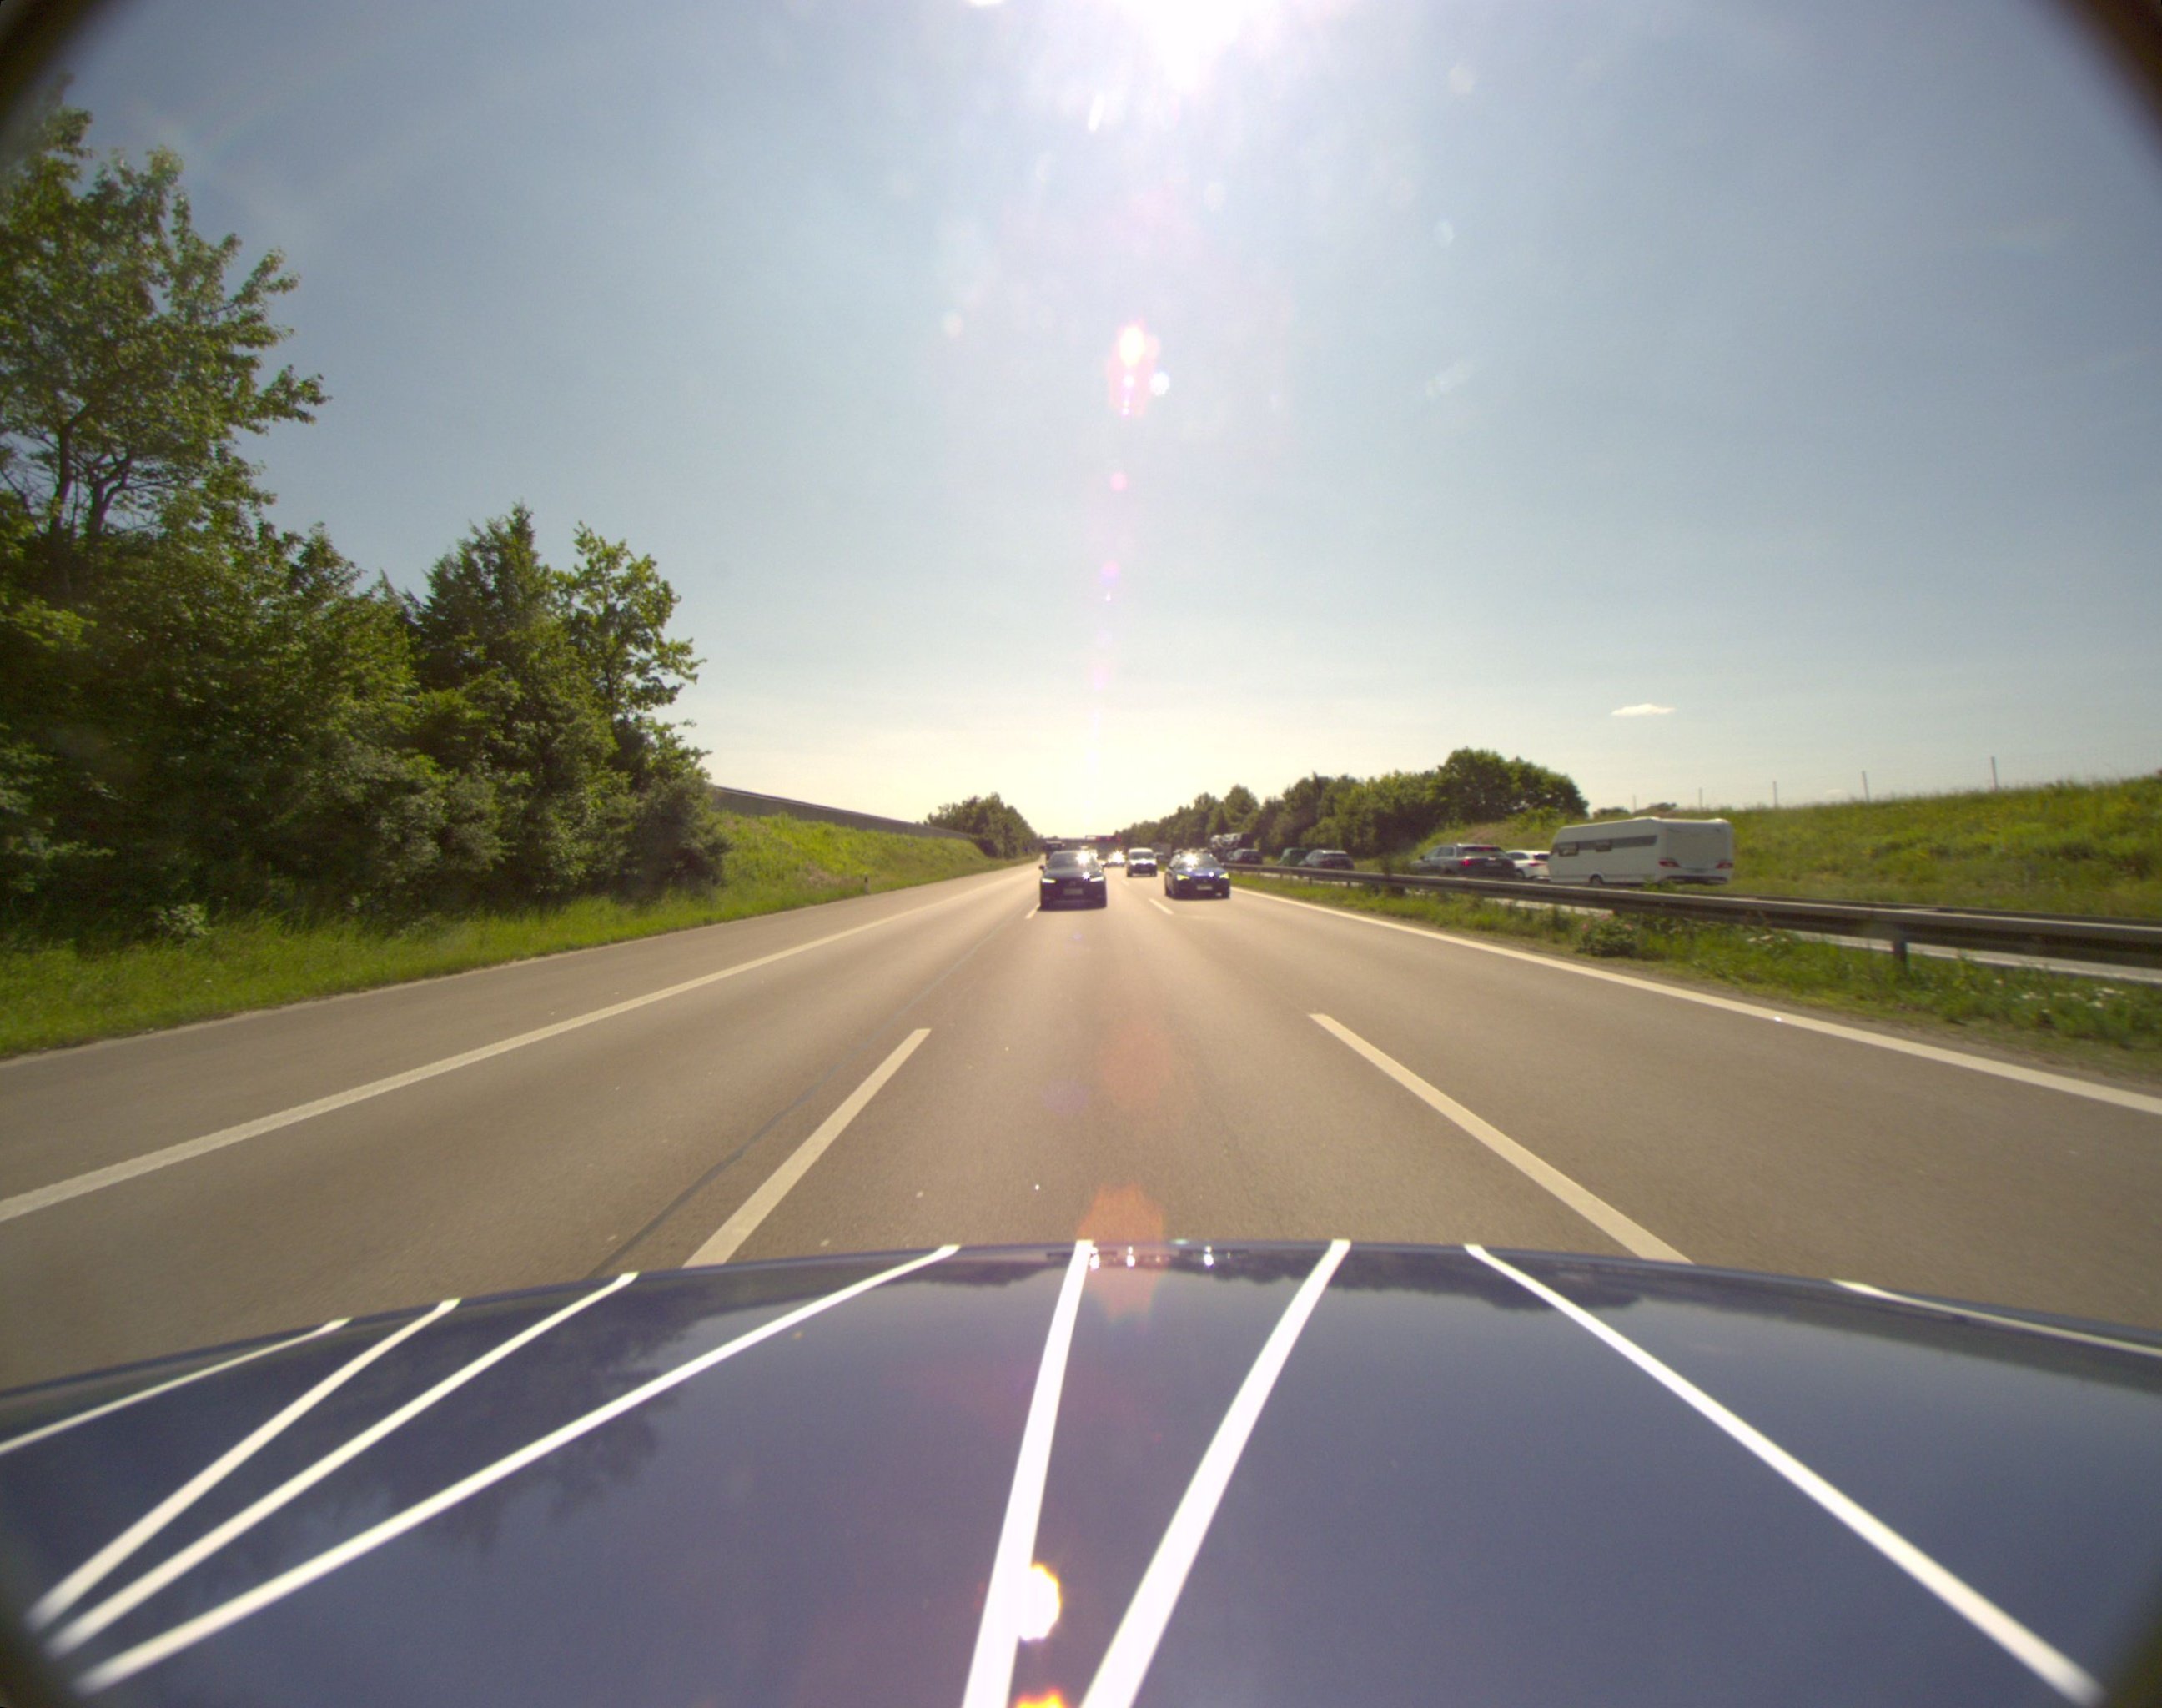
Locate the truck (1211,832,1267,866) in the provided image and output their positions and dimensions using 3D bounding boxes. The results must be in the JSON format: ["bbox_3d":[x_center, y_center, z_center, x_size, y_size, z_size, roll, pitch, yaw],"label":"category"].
[{"bbox_3d":[19.906,-0.605,97.219,3.220,4.026,16.671,0,0,-1],"label":"truck"}]

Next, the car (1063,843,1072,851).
[{"bbox_3d":[-3.238,-1.637,179.182,1.998,1.856,4.228,0,0,1],"label":"car"}]

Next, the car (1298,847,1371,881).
[{"bbox_3d":[12.010,0.444,36.313,1.917,1.508,4.616,-1,0,0],"label":"car"}]

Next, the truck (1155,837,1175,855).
[{"bbox_3d":[19.164,-1.762,174.469,2.679,4.055,13.956,1,0,-1],"label":"truck"}]

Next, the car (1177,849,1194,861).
[{"bbox_3d":[15.680,0.137,114.149,1.998,1.604,4.580,0,0,0],"label":"car"}]

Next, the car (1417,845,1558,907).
[{"bbox_3d":[11.868,0.561,22.586,1.854,1.565,4.421,-1,1,0],"label":"car"}]

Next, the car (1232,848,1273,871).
[{"bbox_3d":[12.328,0.371,54.825,1.917,1.508,4.616,-1,0,0],"label":"car"}]

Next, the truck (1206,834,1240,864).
[{"bbox_3d":[19.695,-0.635,105.861,3.249,4.026,7.393,0,0,-1],"label":"truck"}]

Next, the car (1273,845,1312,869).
[{"bbox_3d":[16.622,0.238,59.827,1.819,1.798,4.381,-1,0,0],"label":"car"}]

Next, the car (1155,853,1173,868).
[{"bbox_3d":[12.003,0.860,110.333,1.998,2.002,4.912,-1,1,0],"label":"car"}]

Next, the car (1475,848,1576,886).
[{"bbox_3d":[20.045,0.539,34.539,1.851,1.597,4.810,-1,0,0],"label":"car"}]

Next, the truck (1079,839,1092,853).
[{"bbox_3d":[1.252,-2.242,211.559,3.243,3.684,10.932,0,1,-1],"label":"truck"}]

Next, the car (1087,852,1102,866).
[{"bbox_3d":[1.680,0.618,95.037,1.743,1.630,3.844,0,1,2],"label":"car"}]

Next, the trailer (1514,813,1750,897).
[{"bbox_3d":[20.246,0.011,28.839,2.738,2.671,8.629,-1,0,1],"label":"trailer"}]

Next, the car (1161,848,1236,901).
[{"bbox_3d":[3.868,0.625,25.662,1.904,1.616,4.240,-1,0,1],"label":"car"}]

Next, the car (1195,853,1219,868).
[{"bbox_3d":[12.408,0.643,74.981,1.720,1.382,4.000,-1,0,0],"label":"car"}]

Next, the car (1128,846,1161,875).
[{"bbox_3d":[4.046,0.391,48.759,1.870,1.713,3.980,-1,1,2],"label":"car"}]

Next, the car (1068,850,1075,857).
[{"bbox_3d":[-2.637,-0.124,214.116,1.999,1.765,4.236,-1,0,0],"label":"car"}]

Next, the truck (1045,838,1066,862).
[{"bbox_3d":[-3.696,-0.612,108.394,2.966,3.388,8.044,0,1,-3],"label":"truck"}]

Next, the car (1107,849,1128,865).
[{"bbox_3d":[3.848,0.338,81.308,1.999,1.540,3.998,-1,1,-1],"label":"car"}]

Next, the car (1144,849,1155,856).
[{"bbox_3d":[15.006,-0.402,166.578,1.999,1.501,5.207,-1,0,-1],"label":"car"}]

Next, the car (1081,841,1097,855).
[{"bbox_3d":[1.824,-1.383,175.617,3.243,3.094,7.602,0,1,-1],"label":"car"}]

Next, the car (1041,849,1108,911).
[{"bbox_3d":[-0.172,0.714,23.133,1.812,1.648,4.000,-2,0,1],"label":"car"}]
